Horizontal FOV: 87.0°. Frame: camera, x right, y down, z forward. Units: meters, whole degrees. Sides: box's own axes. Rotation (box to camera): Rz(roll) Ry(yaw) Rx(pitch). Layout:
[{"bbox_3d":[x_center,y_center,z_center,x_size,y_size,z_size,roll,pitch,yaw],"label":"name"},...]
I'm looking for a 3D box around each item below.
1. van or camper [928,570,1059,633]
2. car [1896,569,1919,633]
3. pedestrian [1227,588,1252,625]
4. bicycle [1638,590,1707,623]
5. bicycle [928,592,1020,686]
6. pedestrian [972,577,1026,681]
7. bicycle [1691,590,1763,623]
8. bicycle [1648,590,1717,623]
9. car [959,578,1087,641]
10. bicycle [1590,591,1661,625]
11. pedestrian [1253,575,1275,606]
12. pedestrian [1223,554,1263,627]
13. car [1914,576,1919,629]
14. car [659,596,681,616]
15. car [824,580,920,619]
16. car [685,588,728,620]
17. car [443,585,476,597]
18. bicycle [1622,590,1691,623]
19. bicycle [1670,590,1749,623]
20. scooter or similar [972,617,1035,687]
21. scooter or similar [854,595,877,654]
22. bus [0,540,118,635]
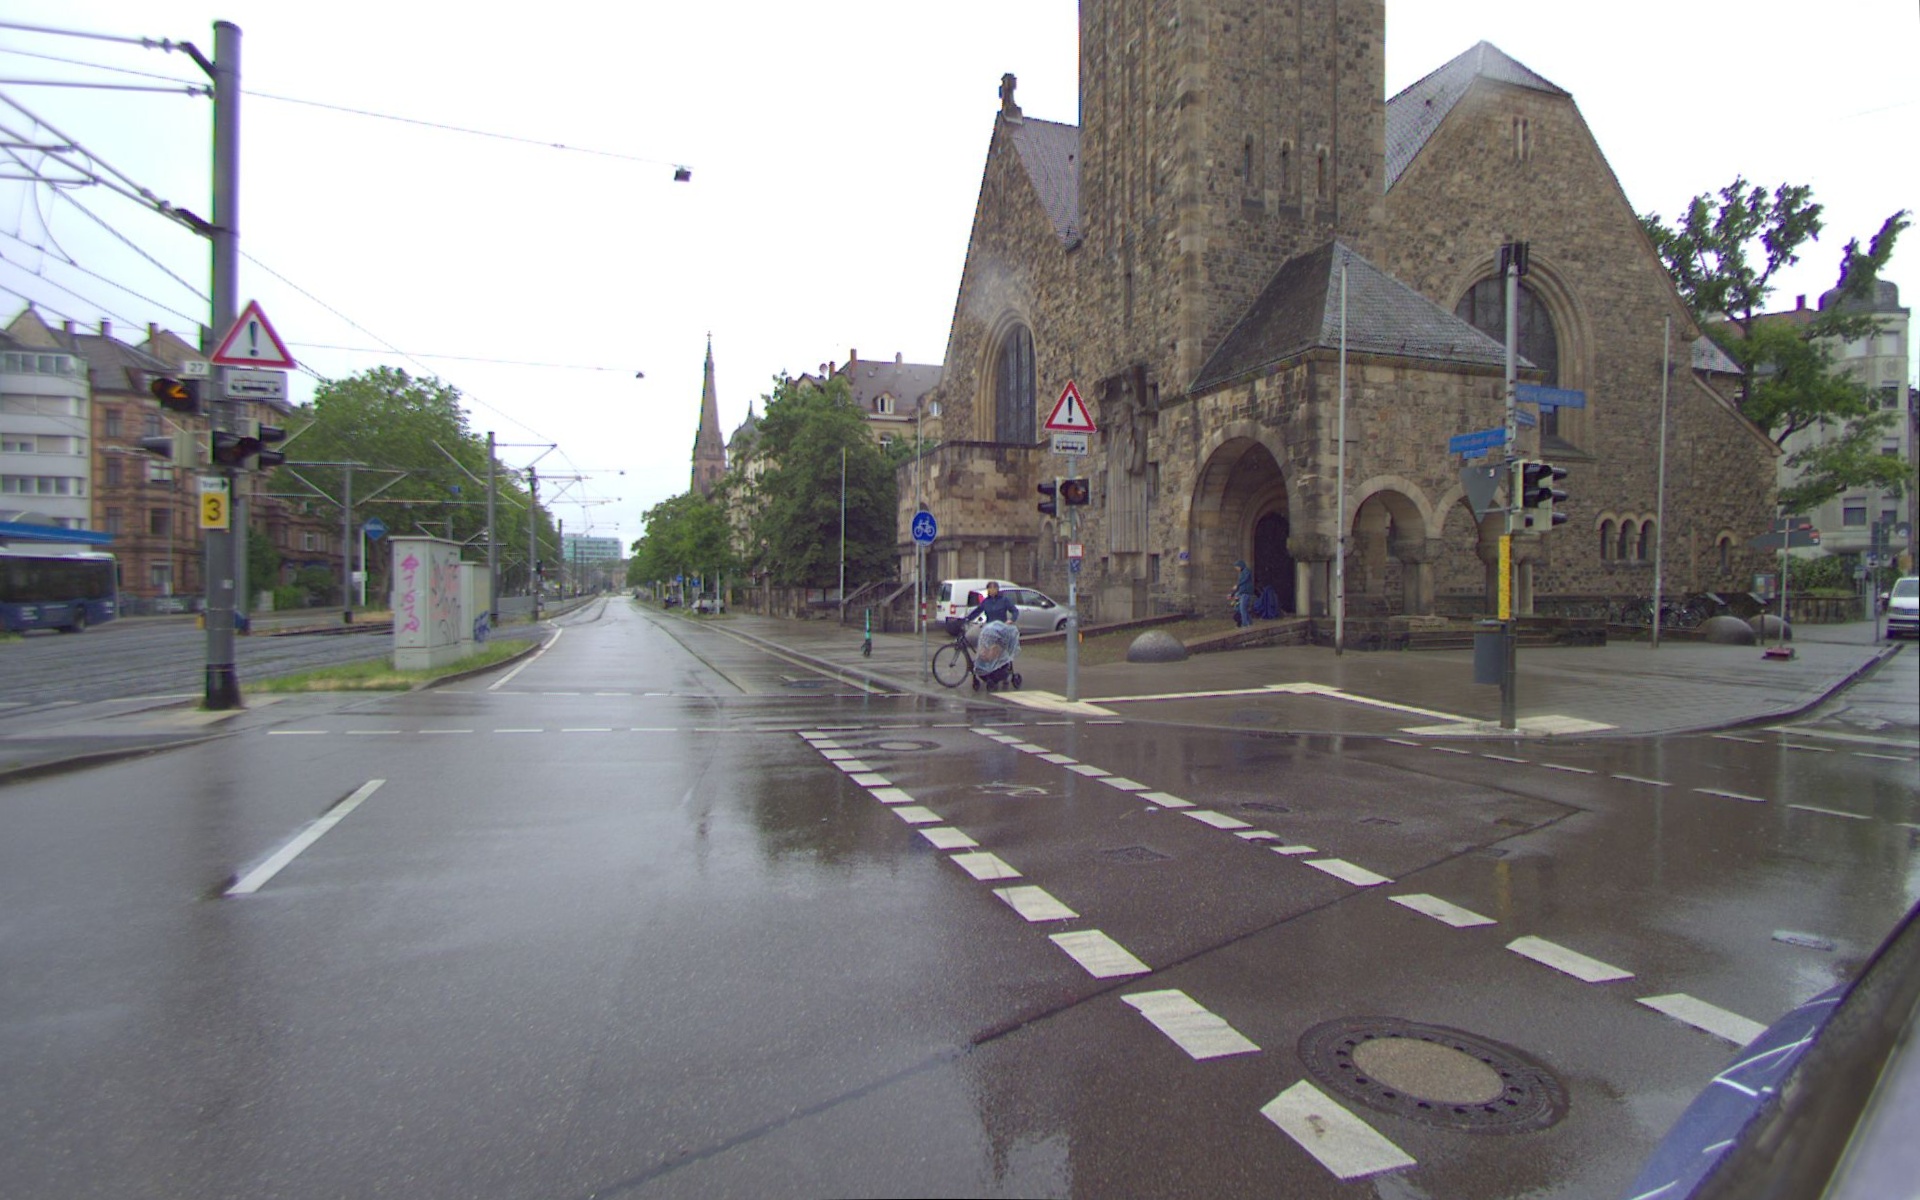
[{"bbox_3d":[1.089,0.021,33.117,3.849,1.749,1.652,-4,2,-20],"label":"van or camper"},{"bbox_3d":[31.303,0.016,32.199,5.185,1.946,1.906,-1,2,-44],"label":"car"},{"bbox_3d":[6.988,0.159,25.320,0.388,0.895,0.457,0,0,-23],"label":"pedestrian"},{"bbox_3d":[24.499,0.209,34.854,0.569,1.074,1.932,0,1,-21],"label":"bicycle"},{"bbox_3d":[0.260,0.608,17.006,0.530,1.485,1.915,0,0,36],"label":"bicycle"},{"bbox_3d":[0.653,0.471,16.849,0.677,1.684,0.604,0,0,-40],"label":"pedestrian"},{"bbox_3d":[26.845,0.220,35.475,0.593,1.080,1.987,0,1,-21],"label":"bicycle"},{"bbox_3d":[25.106,0.209,35.206,0.569,1.074,1.932,0,1,-21],"label":"bicycle"},{"bbox_3d":[1.834,0.244,29.807,3.289,1.593,1.740,-4,2,-17],"label":"car"},{"bbox_3d":[22.614,0.253,34.421,0.565,1.062,2.013,0,1,-26],"label":"bicycle"},{"bbox_3d":[8.893,-0.268,29.618,0.447,0.895,0.397,0,0,-21],"label":"pedestrian"},{"bbox_3d":[6.801,-0.232,24.333,0.664,1.724,0.635,0,0,-23],"label":"pedestrian"},{"bbox_3d":[35.895,0.081,36.563,4.224,1.869,1.834,-1,2,-44],"label":"car"},{"bbox_3d":[-27.170,0.559,94.676,1.744,1.799,4.008,-1,1,-20],"label":"car"},{"bbox_3d":[-3.947,-0.050,45.399,3.916,1.638,2.004,-1,1,-19],"label":"car"},{"bbox_3d":[-15.324,0.203,60.999,1.939,1.816,4.008,-1,1,-23],"label":"car"},{"bbox_3d":[-66.692,-1.200,134.826,3.740,1.644,1.780,0,1,-19],"label":"car"},{"bbox_3d":[23.860,0.195,34.701,0.569,1.074,1.932,0,1,-24],"label":"bicycle"},{"bbox_3d":[25.976,0.194,35.124,0.664,1.074,2.160,0,1,-21],"label":"bicycle"},{"bbox_3d":[0.696,0.818,16.221,0.908,1.062,0.514,0,0,-41],"label":"scooter or similar"},{"bbox_3d":[-2.312,0.589,24.803,0.280,1.404,1.106,0,0,-21],"label":"scooter or similar"},{"bbox_3d":[-34.015,-0.447,35.656,2.833,3.152,12.127,0,1,-21],"label":"bus"}]
